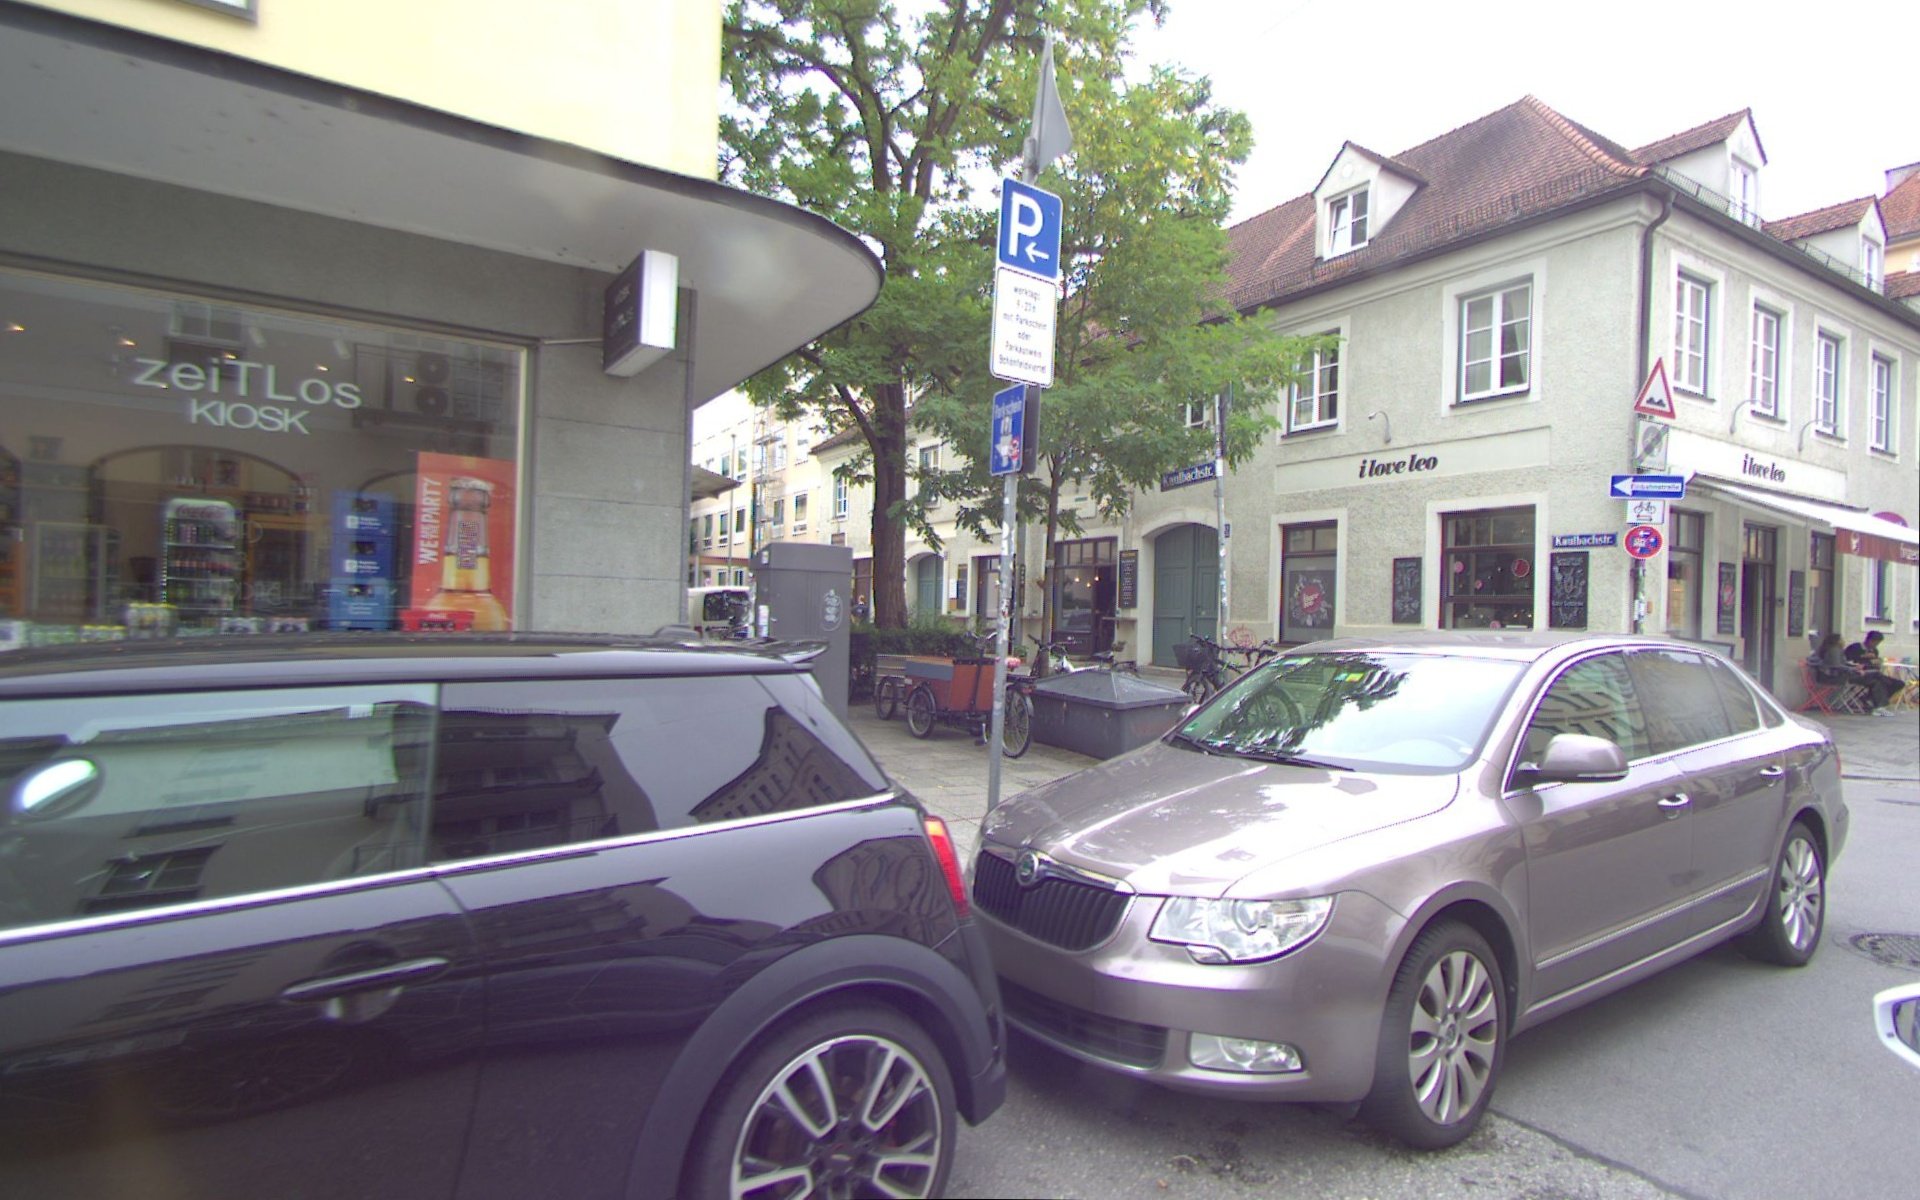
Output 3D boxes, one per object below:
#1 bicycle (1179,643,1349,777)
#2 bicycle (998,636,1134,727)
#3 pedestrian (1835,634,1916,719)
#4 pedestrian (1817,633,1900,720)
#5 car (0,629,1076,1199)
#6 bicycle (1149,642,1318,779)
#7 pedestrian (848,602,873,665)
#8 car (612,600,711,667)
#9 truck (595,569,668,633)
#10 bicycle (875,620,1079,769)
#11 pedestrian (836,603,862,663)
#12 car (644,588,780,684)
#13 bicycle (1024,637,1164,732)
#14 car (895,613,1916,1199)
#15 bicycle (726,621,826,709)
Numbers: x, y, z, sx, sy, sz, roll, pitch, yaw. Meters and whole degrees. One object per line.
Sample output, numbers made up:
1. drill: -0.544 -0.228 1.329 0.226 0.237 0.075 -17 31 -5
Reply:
1. bicycle: 2.852 0.996 9.616 0.387 1.049 1.811 0 1 -27
2. bicycle: 1.252 0.935 11.649 1.699 0.978 0.377 3 0 -35
3. pedestrian: 14.724 1.214 16.168 0.685 1.307 0.799 3 -2 -30
4. pedestrian: 14.118 1.183 15.788 0.685 1.307 0.799 3 -2 -30
5. car: -1.877 0.808 2.097 4.049 1.491 1.671 1 -2 -30
6. bicycle: 2.502 0.978 9.424 0.387 1.049 1.811 0 1 -27
7. pedestrian: -2.904 0.977 29.340 0.525 1.810 0.487 3 -2 -33
8. car: -8.188 0.855 27.331 1.753 1.617 4.137 -2 0 -28
9. truck: -18.232 0.133 55.471 2.549 3.236 6.687 3 -2 -29
10. bicycle: 0.064 0.879 10.326 0.807 1.227 2.831 3 0 -27
11. pedestrian: -3.298 0.979 29.862 0.525 1.752 0.552 3 -2 -33
12. car: -5.650 0.734 22.446 1.883 1.869 4.429 -2 0 -28
13. bicycle: 1.522 0.933 11.237 1.699 0.978 0.377 3 0 -35
14. car: 2.249 0.850 4.321 4.898 1.491 1.669 1 -2 -34
15. bicycle: -2.826 0.963 15.185 0.807 1.227 2.358 3 -3 -27
